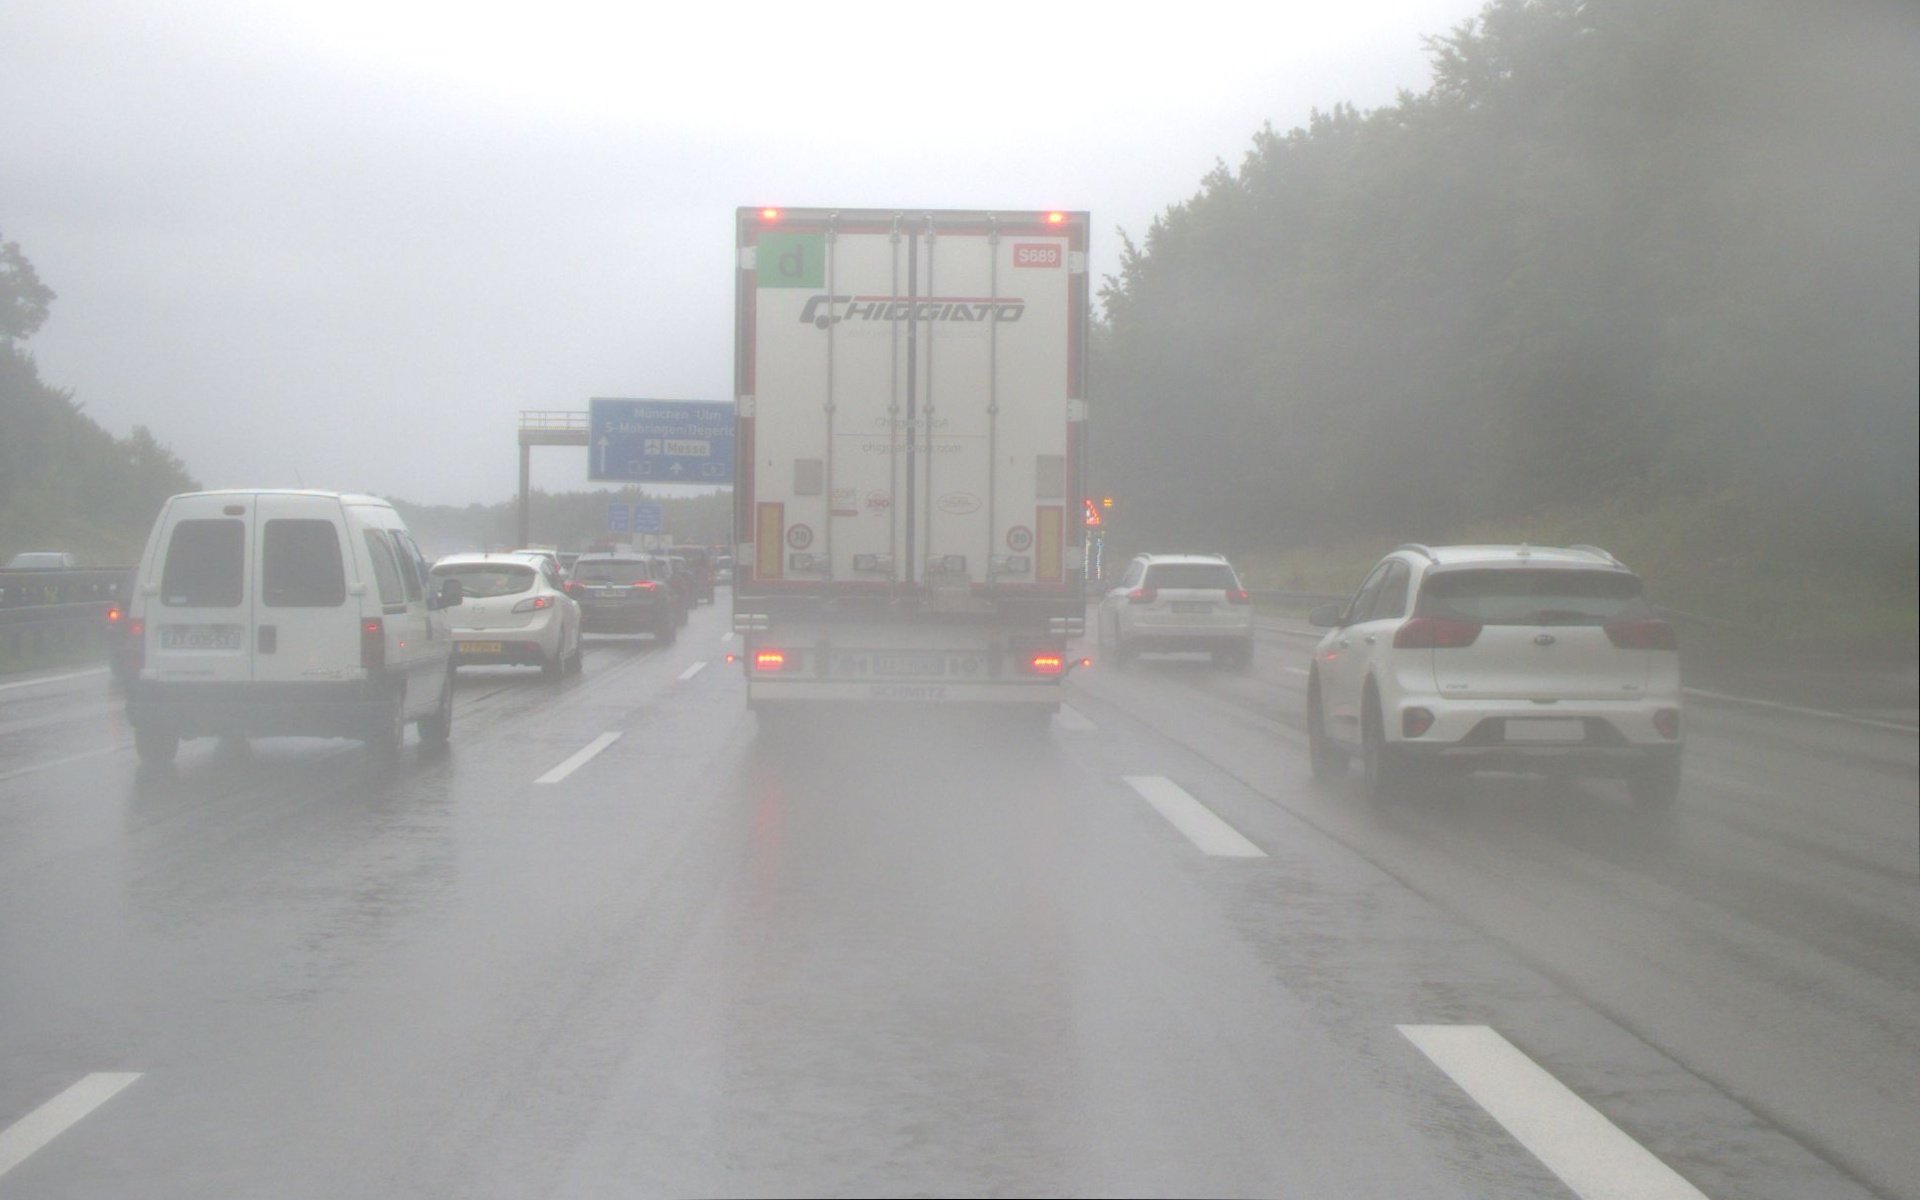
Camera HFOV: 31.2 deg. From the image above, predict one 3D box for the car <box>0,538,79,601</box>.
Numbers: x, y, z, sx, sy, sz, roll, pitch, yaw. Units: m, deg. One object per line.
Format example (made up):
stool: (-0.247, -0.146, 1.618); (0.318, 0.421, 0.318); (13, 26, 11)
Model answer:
car: (-23.260, -0.783, 85.326); (1.836, 1.492, 4.609); (0, 1, -3)

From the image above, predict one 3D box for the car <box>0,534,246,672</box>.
car: (-9.864, -0.011, 40.327); (2.090, 1.499, 4.755); (0, 1, -2)

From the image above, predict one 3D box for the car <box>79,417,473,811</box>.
car: (-4.836, 0.048, 25.052); (2.212, 2.564, 5.016); (1, 1, -4)

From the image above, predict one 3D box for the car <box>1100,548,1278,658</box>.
car: (3.061, 0.005, 46.767); (2.007, 1.389, 4.568); (1, 1, -1)

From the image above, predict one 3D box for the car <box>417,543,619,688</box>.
car: (-5.127, 0.143, 40.368); (1.845, 1.586, 4.072); (1, 1, 0)

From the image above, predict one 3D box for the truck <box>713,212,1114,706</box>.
truck: (-0.449, -1.065, 30.616); (2.872, 3.550, 11.303); (1, 0, -1)

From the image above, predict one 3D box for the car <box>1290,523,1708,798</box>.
car: (3.217, 0.295, 21.364); (1.845, 1.517, 4.344); (1, 1, -1)

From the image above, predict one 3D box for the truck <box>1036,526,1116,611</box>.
truck: (4.136, -1.174, 123.227); (2.589, 2.931, 6.456); (1, 1, 0)

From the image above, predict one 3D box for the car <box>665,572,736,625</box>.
car: (-7.033, -0.063, 93.478); (1.845, 1.326, 4.467); (1, 1, -4)

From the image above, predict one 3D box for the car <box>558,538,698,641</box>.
car: (-5.377, -0.199, 56.093); (1.845, 1.586, 4.467); (1, 1, 0)
